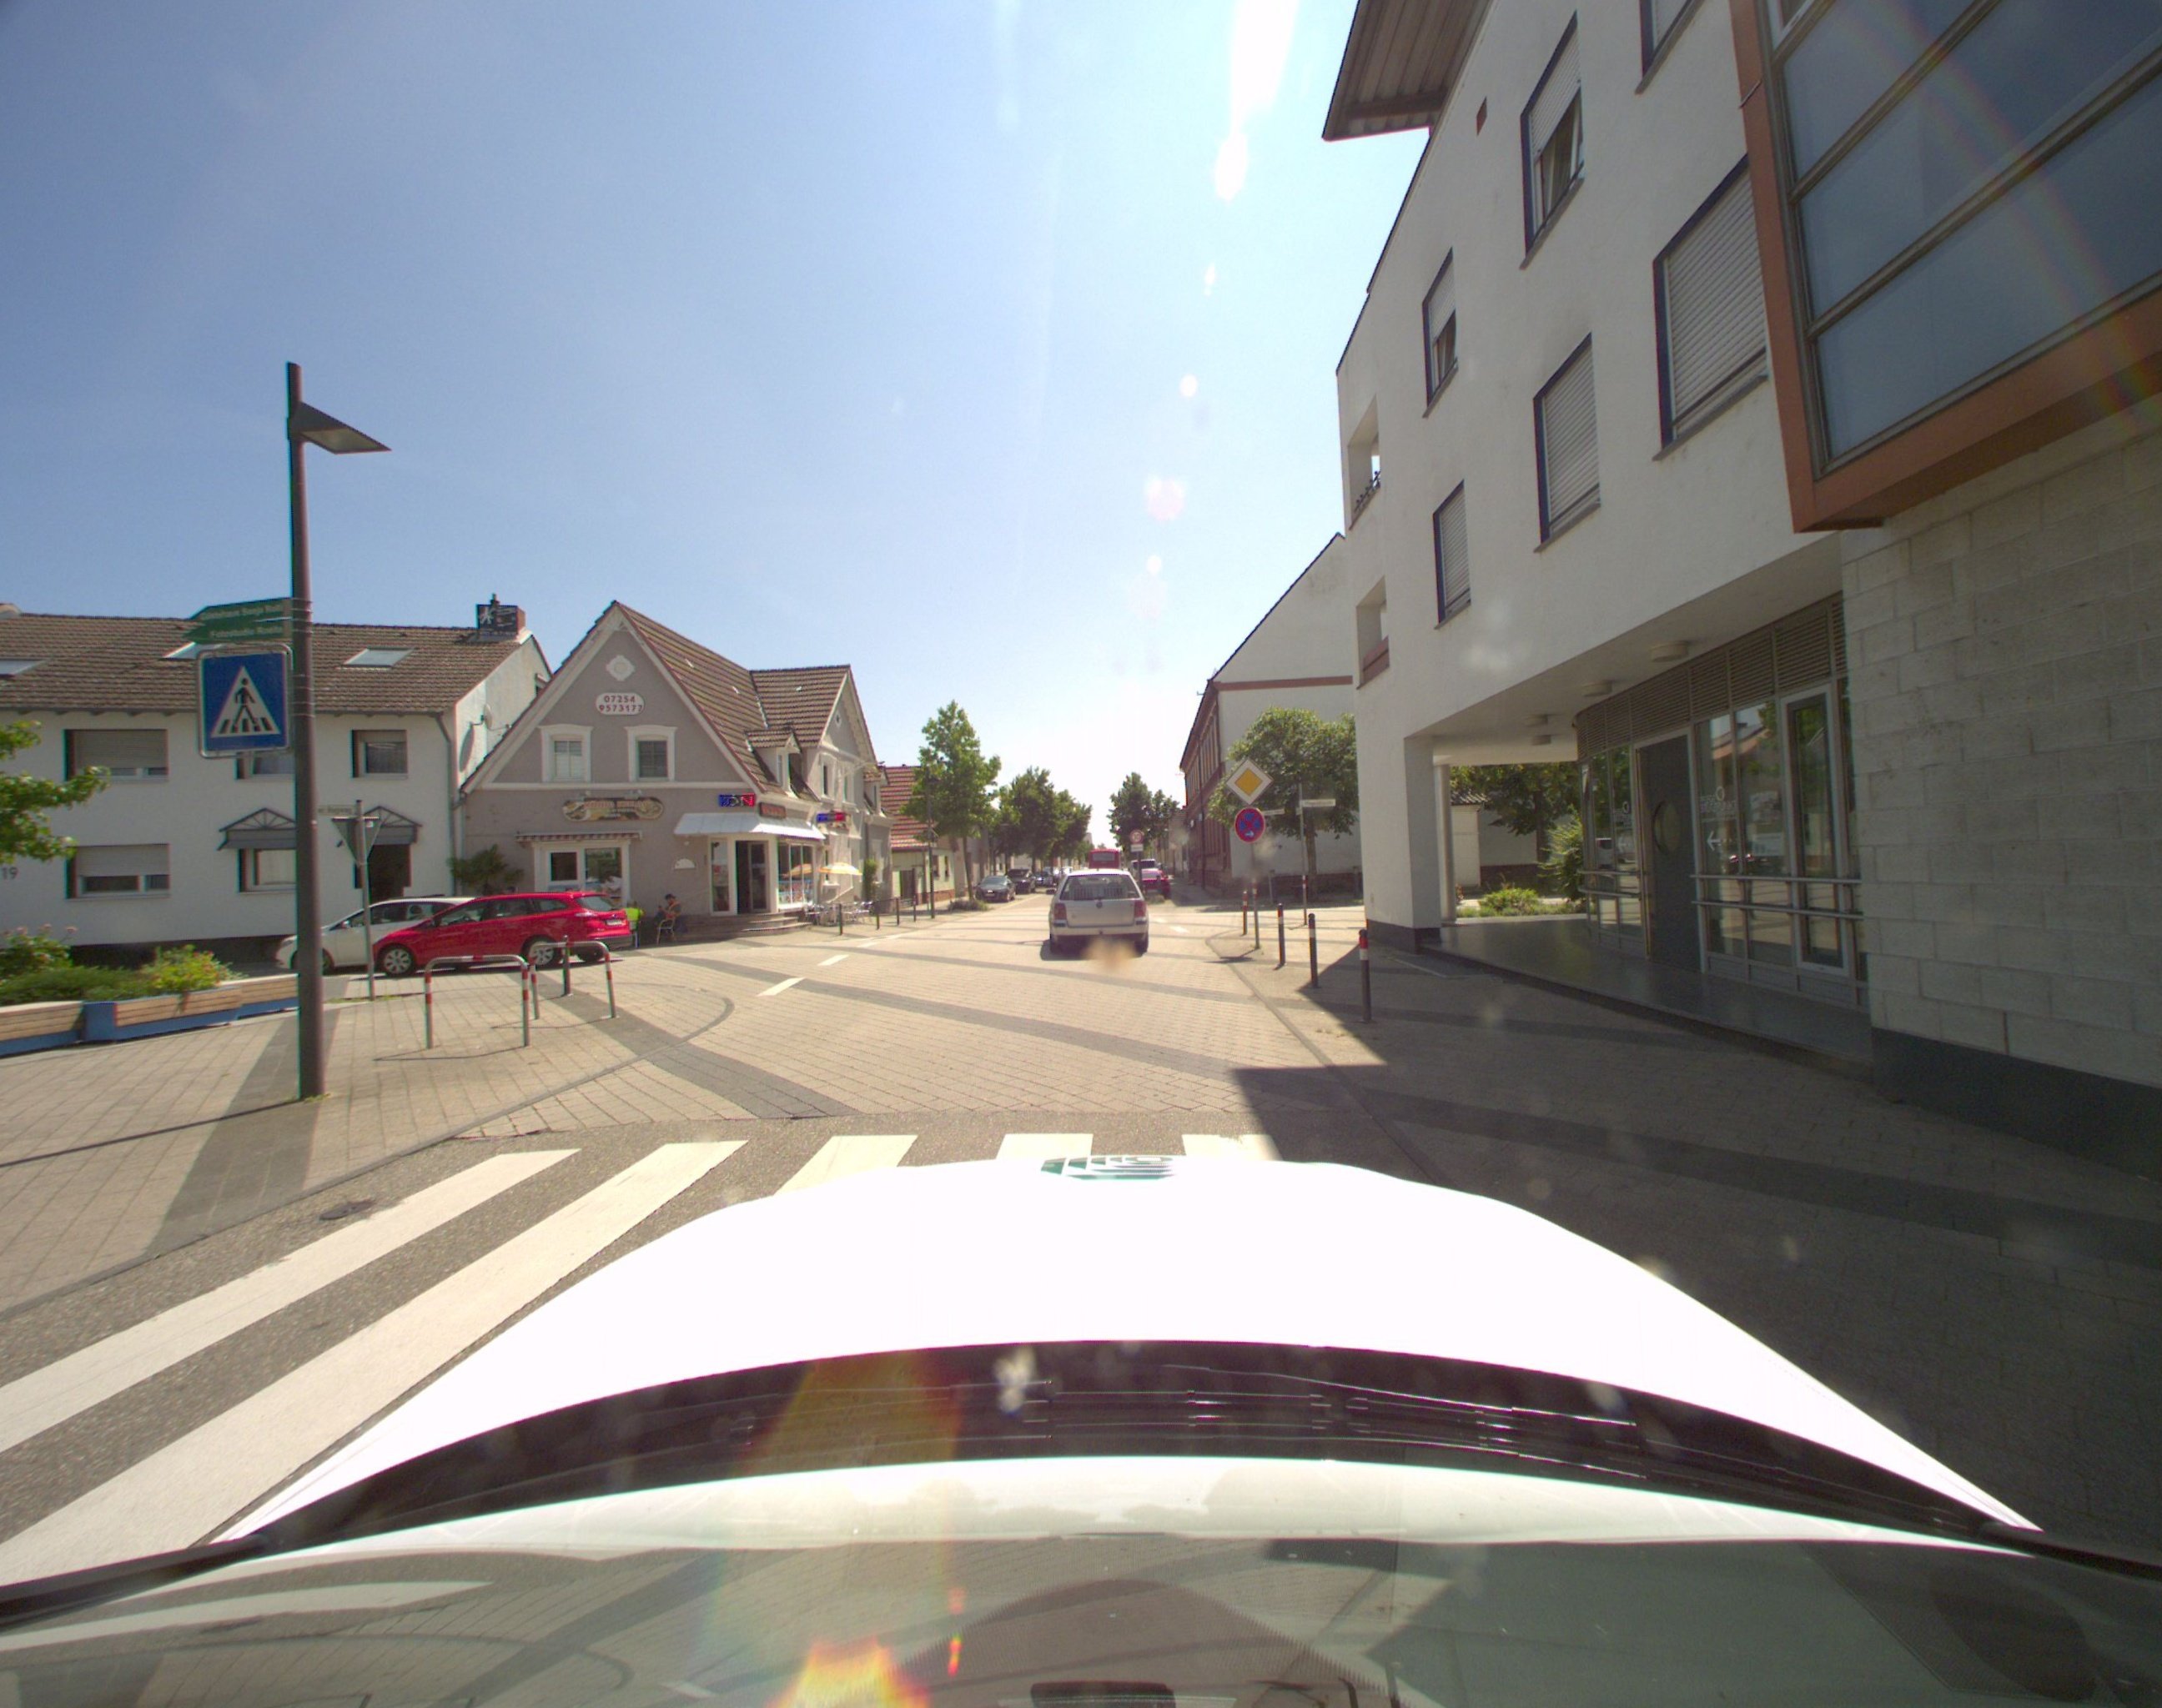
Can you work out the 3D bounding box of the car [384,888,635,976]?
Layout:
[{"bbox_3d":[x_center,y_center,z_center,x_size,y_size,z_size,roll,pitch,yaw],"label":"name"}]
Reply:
[{"bbox_3d":[-11.075,1.478,15.980,3.658,1.430,1.681,-2,-1,-2],"label":"car"}]

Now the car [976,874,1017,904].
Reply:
[{"bbox_3d":[-4.602,1.899,44.948,1.599,1.438,4.067,-3,-1,2],"label":"car"}]

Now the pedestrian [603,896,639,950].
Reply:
[{"bbox_3d":[-11.595,1.728,20.542,0.639,1.289,0.780,1,-2,-41],"label":"pedestrian"}]

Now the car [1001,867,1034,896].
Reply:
[{"bbox_3d":[-4.354,1.886,56.566,1.757,1.838,3.791,-3,-1,3],"label":"car"}]

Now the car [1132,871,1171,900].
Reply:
[{"bbox_3d":[3.410,1.510,39.950,1.712,1.309,3.627,-3,-1,2],"label":"car"}]

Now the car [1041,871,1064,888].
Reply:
[{"bbox_3d":[-2.714,2.429,77.975,1.804,1.559,4.002,-3,-1,3],"label":"car"}]

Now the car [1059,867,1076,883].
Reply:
[{"bbox_3d":[-1.588,2.503,97.466,1.713,1.802,4.002,-3,-1,3],"label":"car"}]

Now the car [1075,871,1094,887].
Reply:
[{"bbox_3d":[0.363,2.711,88.752,1.804,1.559,4.002,-3,-1,3],"label":"car"}]

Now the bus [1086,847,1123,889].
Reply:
[{"bbox_3d":[2.213,1.270,72.124,2.728,3.299,12.715,-2,-1,3],"label":"bus"}]

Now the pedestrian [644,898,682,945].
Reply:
[{"bbox_3d":[-11.064,1.770,21.574,0.620,1.179,0.696,-2,-1,-2],"label":"pedestrian"}]

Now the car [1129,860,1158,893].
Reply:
[{"bbox_3d":[4.178,1.477,55.148,1.781,2.082,3.627,-3,-1,2],"label":"car"}]

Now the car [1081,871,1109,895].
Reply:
[{"bbox_3d":[0.942,1.859,52.911,1.587,1.430,3.683,-1,-1,4],"label":"car"}]

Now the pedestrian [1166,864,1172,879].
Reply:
[{"bbox_3d":[9.967,1.930,92.036,0.604,1.667,0.789,-2,-1,1],"label":"pedestrian"}]

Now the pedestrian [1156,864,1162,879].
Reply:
[{"bbox_3d":[8.856,2.013,92.453,0.604,1.667,0.789,-2,-1,1],"label":"pedestrian"}]

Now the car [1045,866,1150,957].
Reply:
[{"bbox_3d":[0.354,0.968,15.123,1.670,1.430,3.682,-2,-1,3],"label":"car"}]

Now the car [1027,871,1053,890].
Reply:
[{"bbox_3d":[-3.561,2.282,71.266,1.804,1.559,4.002,-3,-1,3],"label":"car"}]

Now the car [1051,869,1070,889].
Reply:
[{"bbox_3d":[-2.228,2.744,90.159,1.804,1.996,4.002,-3,-1,3],"label":"car"}]

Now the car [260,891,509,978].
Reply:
[{"bbox_3d":[-15.518,1.746,18.352,3.922,1.545,1.511,-2,1,-14],"label":"car"}]
